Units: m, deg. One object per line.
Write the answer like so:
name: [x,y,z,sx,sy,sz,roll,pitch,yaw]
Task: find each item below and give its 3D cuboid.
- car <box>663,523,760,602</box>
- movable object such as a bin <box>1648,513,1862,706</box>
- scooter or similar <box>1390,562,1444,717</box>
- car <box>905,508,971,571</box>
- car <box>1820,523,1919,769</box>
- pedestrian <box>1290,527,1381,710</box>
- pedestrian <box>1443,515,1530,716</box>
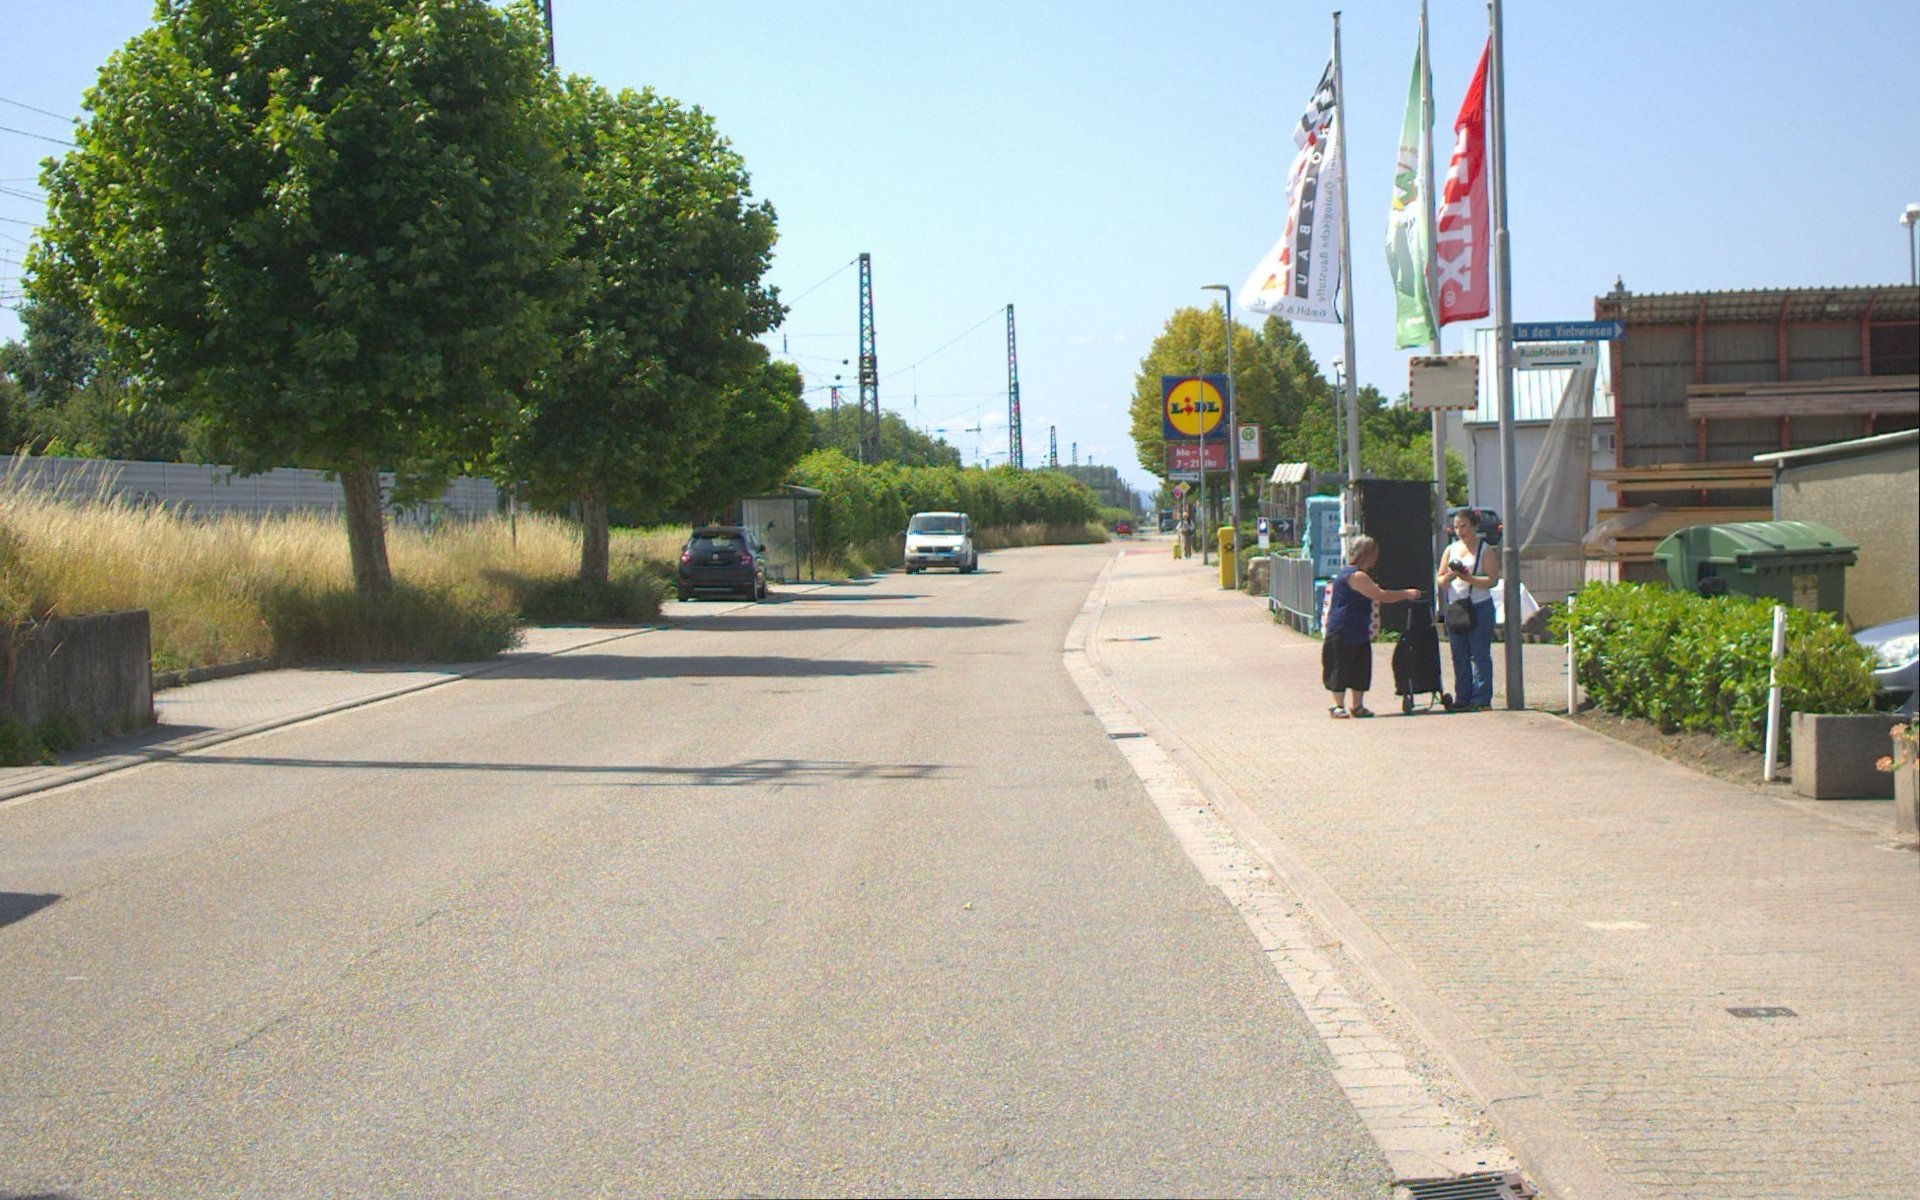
car: [-5.252,-0.817,72.955,1.741,1.590,3.579,-1,2,1]
movable object such as a bin: [6.164,0.050,26.670,1.263,1.453,1.049,-1,1,-36]
scooter or similar: [3.594,0.309,27.042,0.334,1.194,0.397,-2,-1,2]
car: [-0.656,-1.850,104.642,1.838,1.851,4.484,-1,1,2]
car: [7.440,0.230,21.173,3.845,1.450,1.817,-1,1,2]
pedestrian: [2.957,0.148,27.108,0.594,1.400,0.584,-2,-1,0]
pedestrian: [4.122,0.122,26.937,0.535,1.534,0.511,-2,-1,0]
